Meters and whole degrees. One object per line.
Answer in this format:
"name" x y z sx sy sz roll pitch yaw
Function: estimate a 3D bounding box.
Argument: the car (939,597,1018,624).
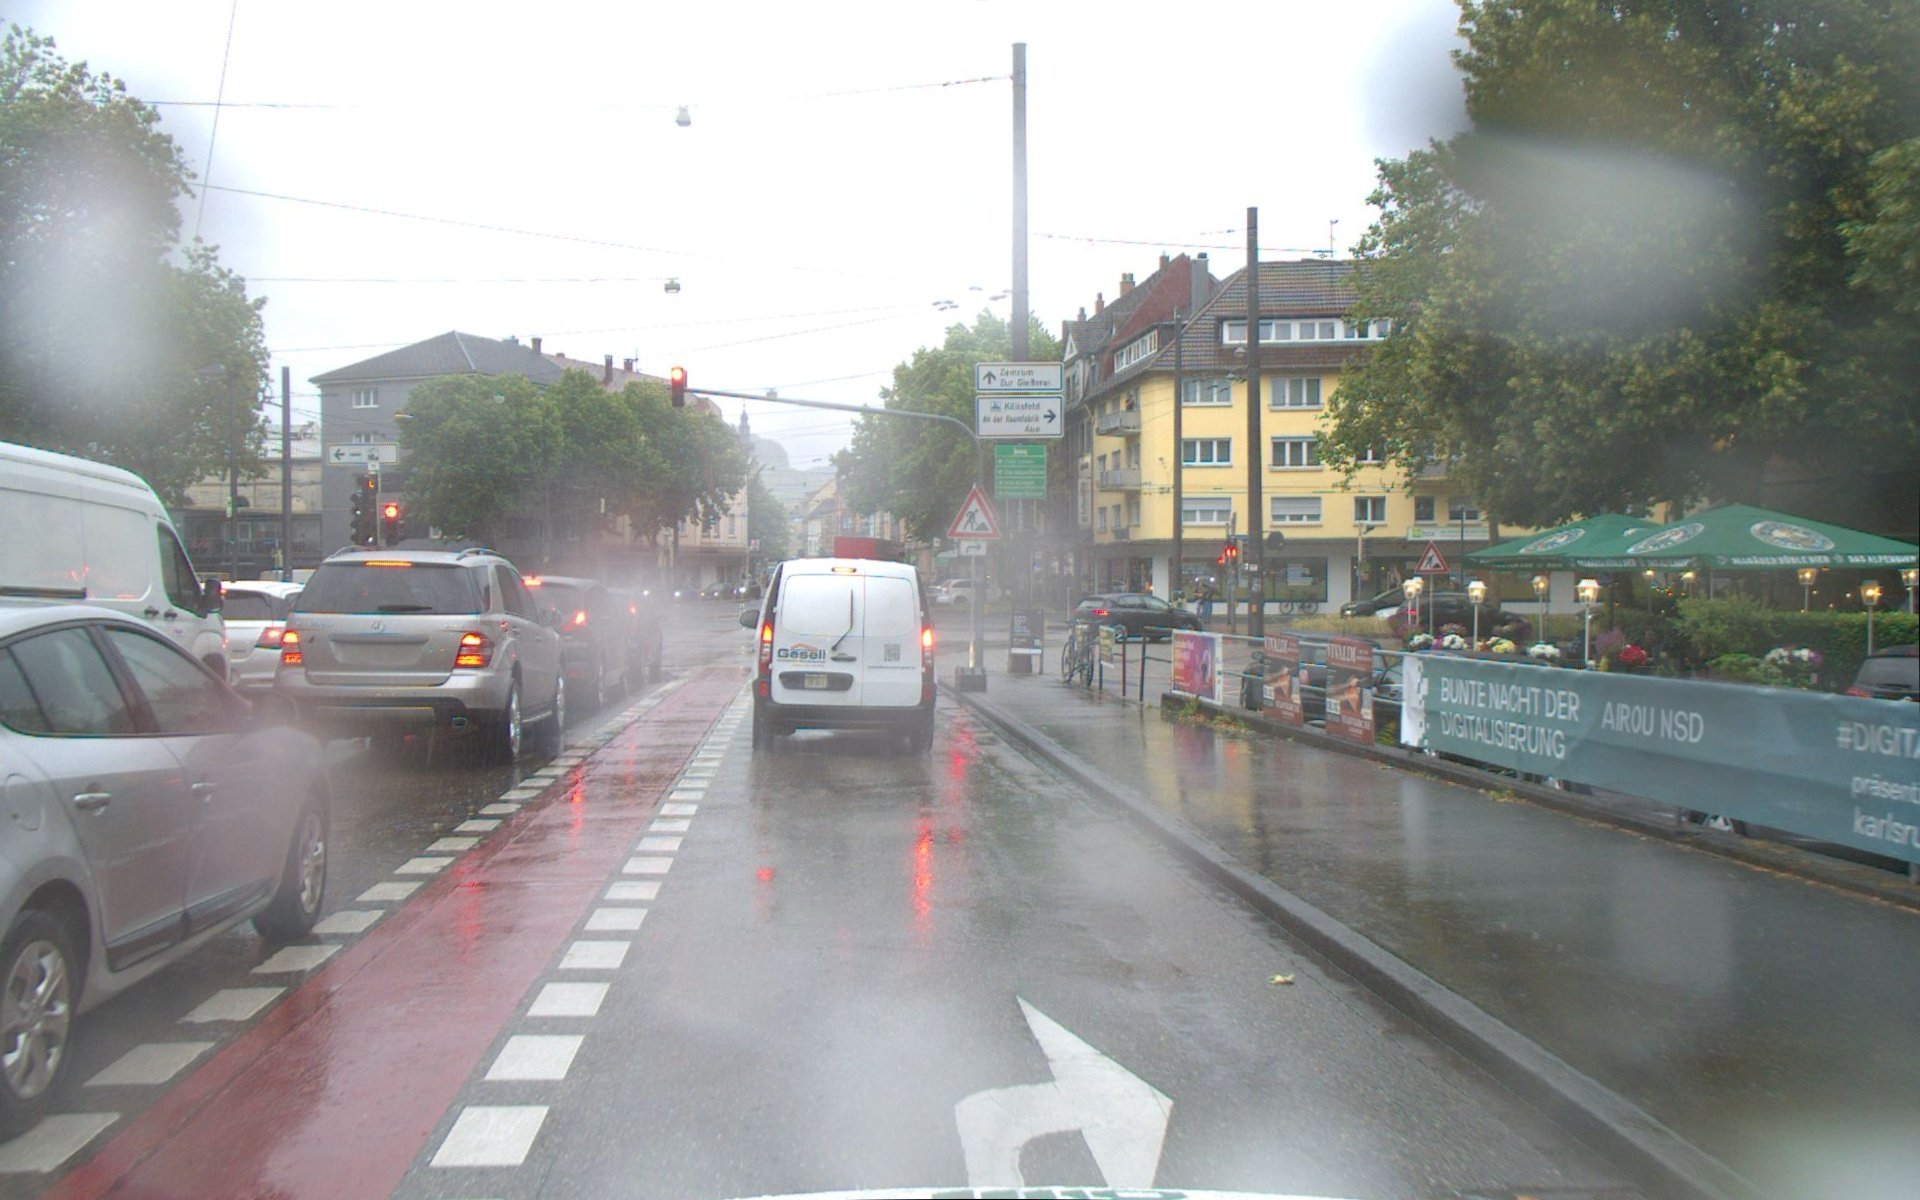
"car" 1.021 0.567 90.175 4.093 1.362 1.516 0 1 -13

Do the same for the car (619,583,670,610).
"car" -20.653 -0.263 108.487 1.909 1.635 4.004 1 2 12

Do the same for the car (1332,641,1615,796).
"car" 5.640 1.252 18.701 1.669 1.424 3.969 1 0 -5

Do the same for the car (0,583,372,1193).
"car" -3.386 0.698 5.537 1.734 1.503 3.996 1 0 -6

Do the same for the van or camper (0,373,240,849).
"van or camper" -7.726 0.059 13.012 2.117 3.196 5.843 1 0 -7

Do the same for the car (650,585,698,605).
"car" -19.749 -0.350 114.391 1.909 1.260 4.004 1 2 12

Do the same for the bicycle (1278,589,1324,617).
"bicycle" 15.991 0.132 77.586 2.056 1.283 0.532 1 1 10

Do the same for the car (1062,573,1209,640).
"car" 5.244 0.199 49.636 3.926 1.898 1.990 1 0 -19

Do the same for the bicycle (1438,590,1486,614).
"bicycle" 22.723 0.075 74.873 1.974 1.045 0.660 1 0 7

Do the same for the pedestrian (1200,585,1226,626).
"pedestrian" 9.888 0.220 64.694 0.810 1.560 0.613 1 0 -43

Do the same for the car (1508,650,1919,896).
"car" 6.263 1.294 13.679 1.699 1.566 4.069 2 0 -7

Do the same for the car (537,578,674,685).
"car" -5.759 0.478 27.246 1.693 1.606 3.817 1 0 -5

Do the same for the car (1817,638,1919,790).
"car" 12.449 1.416 21.432 1.959 1.743 3.988 1 0 34

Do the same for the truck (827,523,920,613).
"truck" -5.235 -1.873 104.251 3.396 5.176 15.317 1 0 6

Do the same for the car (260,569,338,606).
"car" -41.851 -0.832 104.845 1.952 2.236 4.790 2 2 18

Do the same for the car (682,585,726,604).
"car" -18.713 -0.431 121.086 1.909 1.260 4.004 1 2 12

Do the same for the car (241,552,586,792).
"car" -4.685 0.553 14.915 1.985 1.801 4.457 1 0 -6

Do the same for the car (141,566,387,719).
"car" -8.216 0.455 19.879 1.613 1.657 3.832 0 0 -5

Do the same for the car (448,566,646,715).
"car" -5.217 0.472 21.400 1.798 1.697 4.168 1 0 -5

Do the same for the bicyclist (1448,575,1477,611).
"bicyclist" 22.740 -0.319 74.851 1.043 1.574 0.937 1 0 6

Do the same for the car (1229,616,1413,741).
"car" 5.177 1.081 24.164 1.672 1.467 3.523 4 1 -3

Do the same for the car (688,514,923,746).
"car" -1.571 0.278 17.189 2.059 2.047 4.958 1 0 -5

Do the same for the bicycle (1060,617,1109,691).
"bicycle" 2.079 0.884 27.818 0.504 1.126 2.015 4 0 -3

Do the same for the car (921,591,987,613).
"car" -0.341 0.122 91.909 3.382 1.150 1.467 1 0 -13

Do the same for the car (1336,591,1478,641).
"car" 16.438 0.603 61.071 4.832 1.672 2.001 1 -2 7

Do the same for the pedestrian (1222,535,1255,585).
"pedestrian" 9.601 -1.382 56.994 0.886 1.698 1.019 1 0 24
